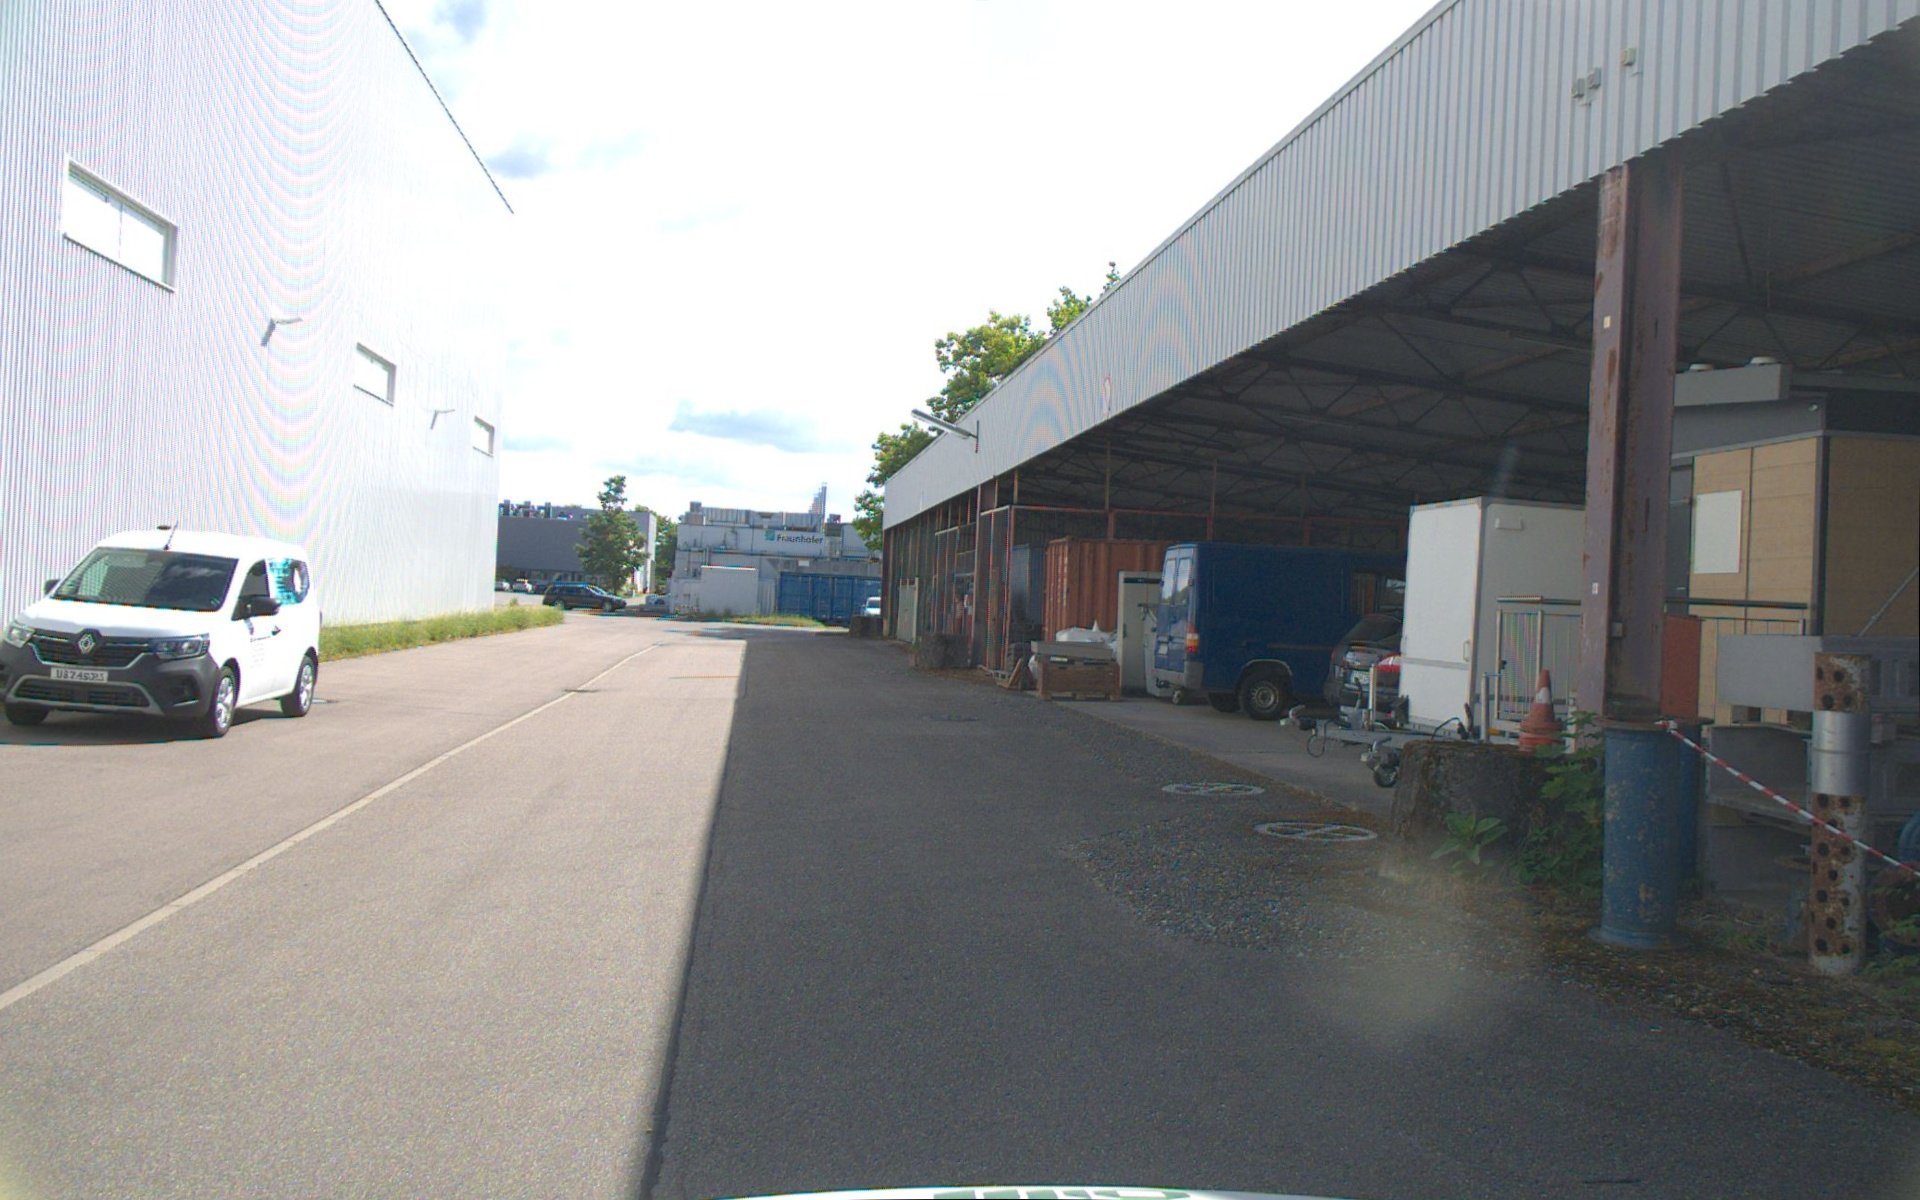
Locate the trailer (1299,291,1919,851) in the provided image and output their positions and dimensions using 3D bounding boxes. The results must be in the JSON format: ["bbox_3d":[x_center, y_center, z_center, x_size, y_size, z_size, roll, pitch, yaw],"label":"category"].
[{"bbox_3d":[7.759,-0.090,11.860,10.097,3.353,2.671,1,0,-7],"label":"trailer"}]

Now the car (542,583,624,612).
[{"bbox_3d":[-22.048,-0.133,96.775,4.444,1.468,1.984,3,-2,-8],"label":"car"}]

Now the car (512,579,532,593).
[{"bbox_3d":[-50.408,-1.563,190.598,1.843,1.564,4.026,1,0,-10],"label":"car"}]

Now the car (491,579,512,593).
[{"bbox_3d":[-52.642,-1.605,190.060,1.843,1.564,4.026,1,0,-10],"label":"car"}]

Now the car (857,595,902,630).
[{"bbox_3d":[-4.235,0.638,86.582,1.944,1.621,4.333,3,1,-8],"label":"car"}]

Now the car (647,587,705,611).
[{"bbox_3d":[-21.409,-0.070,124.837,4.198,1.596,1.984,3,-2,-8],"label":"car"}]

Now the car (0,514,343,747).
[{"bbox_3d":[-7.560,0.239,15.959,1.892,1.821,4.590,4,0,-7],"label":"car"}]

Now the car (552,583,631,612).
[{"bbox_3d":[-22.234,-0.135,100.034,4.444,1.468,1.900,3,-2,-8],"label":"car"}]

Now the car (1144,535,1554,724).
[{"bbox_3d":[5.330,0.413,22.989,5.119,2.337,2.080,2,-1,-9],"label":"car"}]

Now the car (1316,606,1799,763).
[{"bbox_3d":[5.985,0.832,16.772,4.266,1.458,1.860,1,0,-11],"label":"car"}]

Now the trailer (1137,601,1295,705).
[{"bbox_3d":[3.900,0.798,25.412,2.053,1.488,1.640,2,-1,-5],"label":"trailer"}]

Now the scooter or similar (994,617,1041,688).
[{"bbox_3d":[0.966,0.874,28.203,0.510,1.154,1.589,2,-1,-8],"label":"scooter or similar"}]

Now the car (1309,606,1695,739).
[{"bbox_3d":[6.457,0.843,19.920,4.030,1.479,1.847,1,0,-8],"label":"car"}]

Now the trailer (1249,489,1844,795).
[{"bbox_3d":[4.866,0.356,13.998,4.455,2.376,1.686,1,0,-7],"label":"trailer"}]
